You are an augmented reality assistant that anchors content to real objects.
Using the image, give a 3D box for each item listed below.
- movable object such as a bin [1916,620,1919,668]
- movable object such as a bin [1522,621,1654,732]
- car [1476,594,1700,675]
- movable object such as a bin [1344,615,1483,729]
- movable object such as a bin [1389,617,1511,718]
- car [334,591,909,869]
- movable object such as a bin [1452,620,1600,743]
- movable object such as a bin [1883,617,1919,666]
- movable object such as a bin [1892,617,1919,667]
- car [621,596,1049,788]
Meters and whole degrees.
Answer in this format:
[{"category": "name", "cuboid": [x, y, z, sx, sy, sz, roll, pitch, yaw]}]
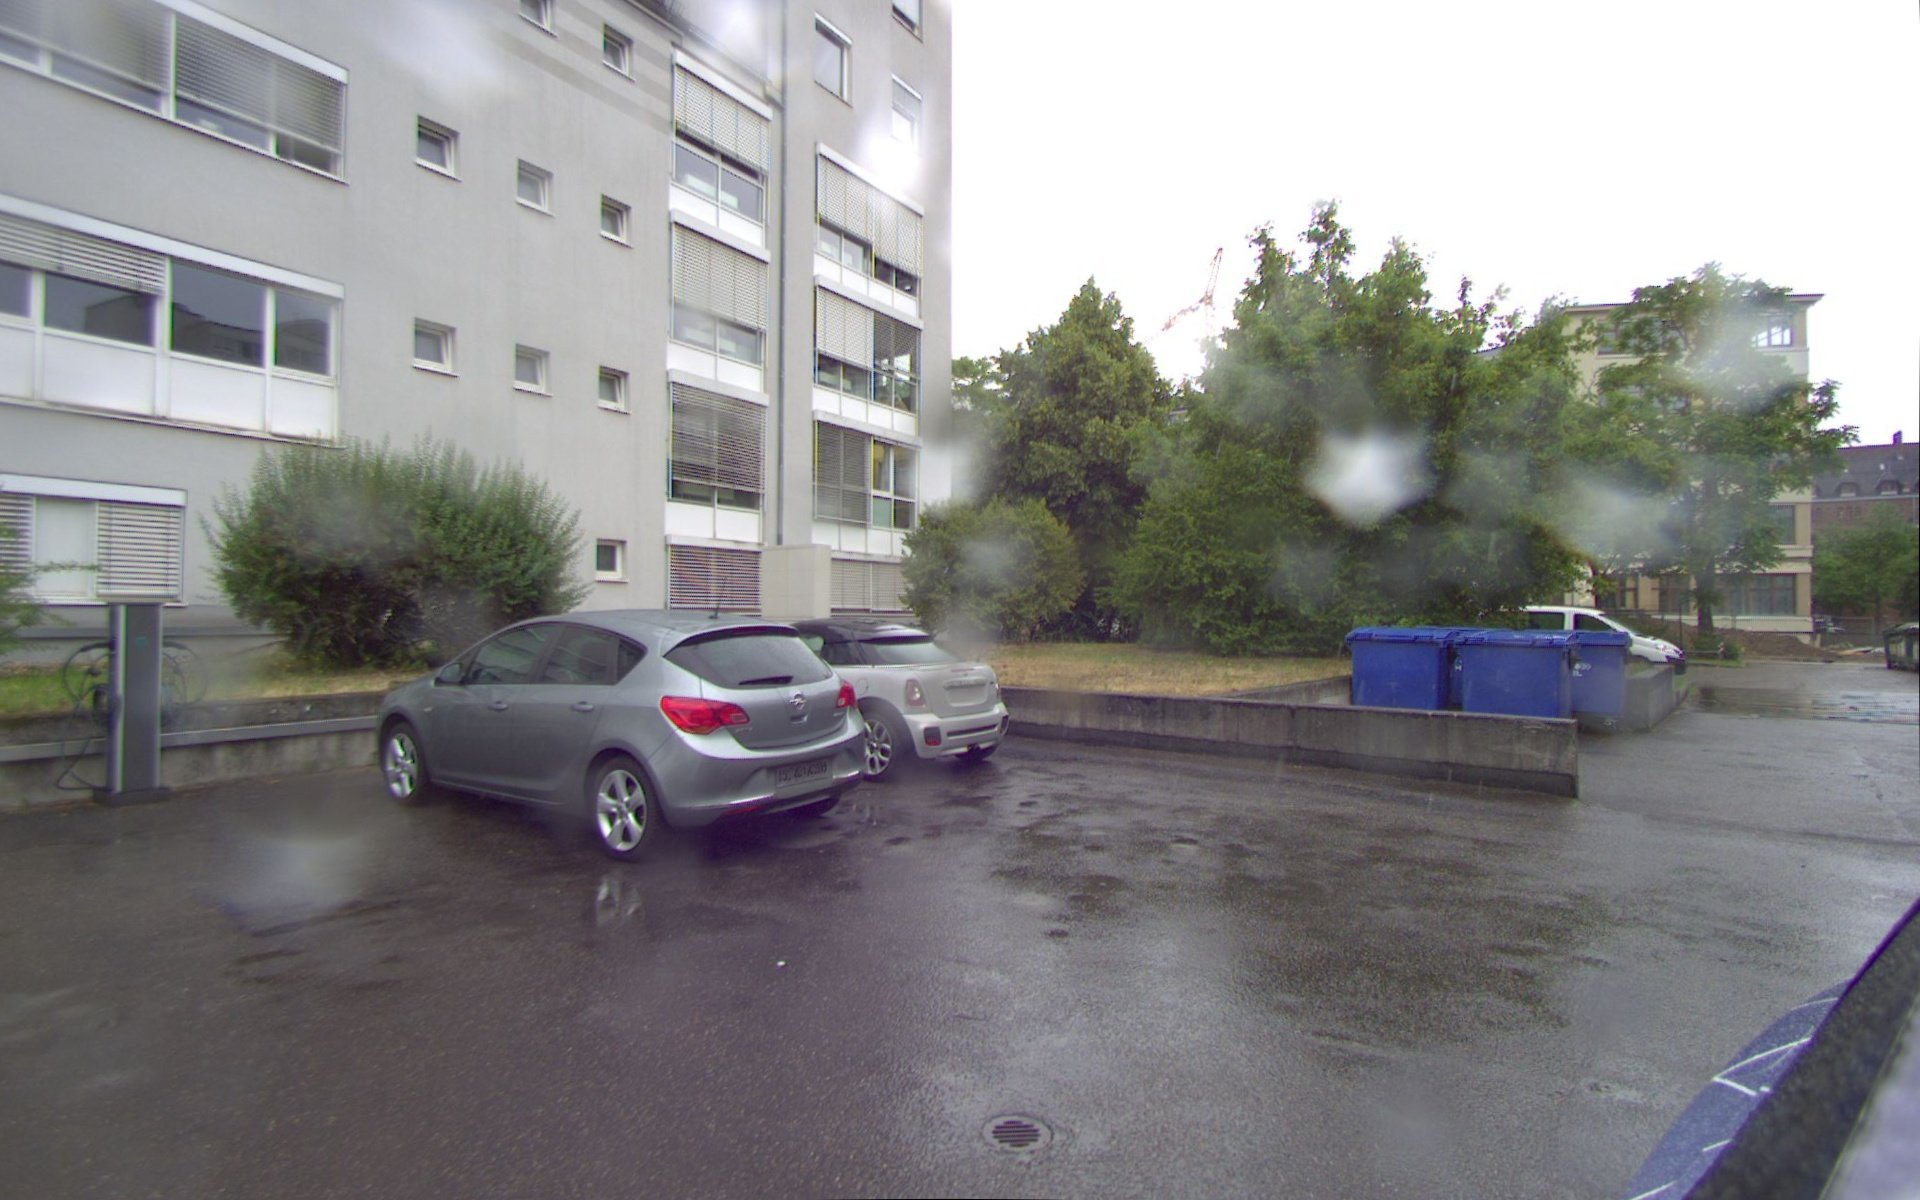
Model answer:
[{"category": "movable object such as a bin", "cuboid": [28.016, 1.230, 28.584, 1.179, 1.392, 1.297, -2, -4, 33]}, {"category": "movable object such as a bin", "cuboid": [8.546, 1.020, 13.745, 1.306, 1.376, 1.878, -3, -5, 38]}, {"category": "car", "cuboid": [16.255, 0.965, 26.341, 4.676, 1.907, 2.091, -3, -6, 41]}, {"category": "movable object such as a bin", "cuboid": [6.010, 0.934, 13.361, 1.226, 1.376, 1.943, -3, -5, 38]}, {"category": "movable object such as a bin", "cuboid": [7.236, 0.987, 14.904, 1.226, 1.376, 1.943, -3, -5, 38]}, {"category": "car", "cuboid": [-2.629, 0.758, 7.549, 4.193, 1.509, 1.974, -1, -2, 35]}, {"category": "movable object such as a bin", "cuboid": [7.036, 0.984, 12.536, 1.306, 1.376, 1.878, -3, -5, 38]}, {"category": "movable object such as a bin", "cuboid": [29.496, 1.280, 31.032, 1.481, 1.468, 1.297, -2, -4, 33]}, {"category": "movable object such as a bin", "cuboid": [28.759, 1.241, 29.922, 1.481, 1.468, 1.297, -2, -4, 33]}, {"category": "car", "cuboid": [-1.396, 0.786, 10.497, 4.197, 1.508, 1.973, 2, -1, 37]}]
